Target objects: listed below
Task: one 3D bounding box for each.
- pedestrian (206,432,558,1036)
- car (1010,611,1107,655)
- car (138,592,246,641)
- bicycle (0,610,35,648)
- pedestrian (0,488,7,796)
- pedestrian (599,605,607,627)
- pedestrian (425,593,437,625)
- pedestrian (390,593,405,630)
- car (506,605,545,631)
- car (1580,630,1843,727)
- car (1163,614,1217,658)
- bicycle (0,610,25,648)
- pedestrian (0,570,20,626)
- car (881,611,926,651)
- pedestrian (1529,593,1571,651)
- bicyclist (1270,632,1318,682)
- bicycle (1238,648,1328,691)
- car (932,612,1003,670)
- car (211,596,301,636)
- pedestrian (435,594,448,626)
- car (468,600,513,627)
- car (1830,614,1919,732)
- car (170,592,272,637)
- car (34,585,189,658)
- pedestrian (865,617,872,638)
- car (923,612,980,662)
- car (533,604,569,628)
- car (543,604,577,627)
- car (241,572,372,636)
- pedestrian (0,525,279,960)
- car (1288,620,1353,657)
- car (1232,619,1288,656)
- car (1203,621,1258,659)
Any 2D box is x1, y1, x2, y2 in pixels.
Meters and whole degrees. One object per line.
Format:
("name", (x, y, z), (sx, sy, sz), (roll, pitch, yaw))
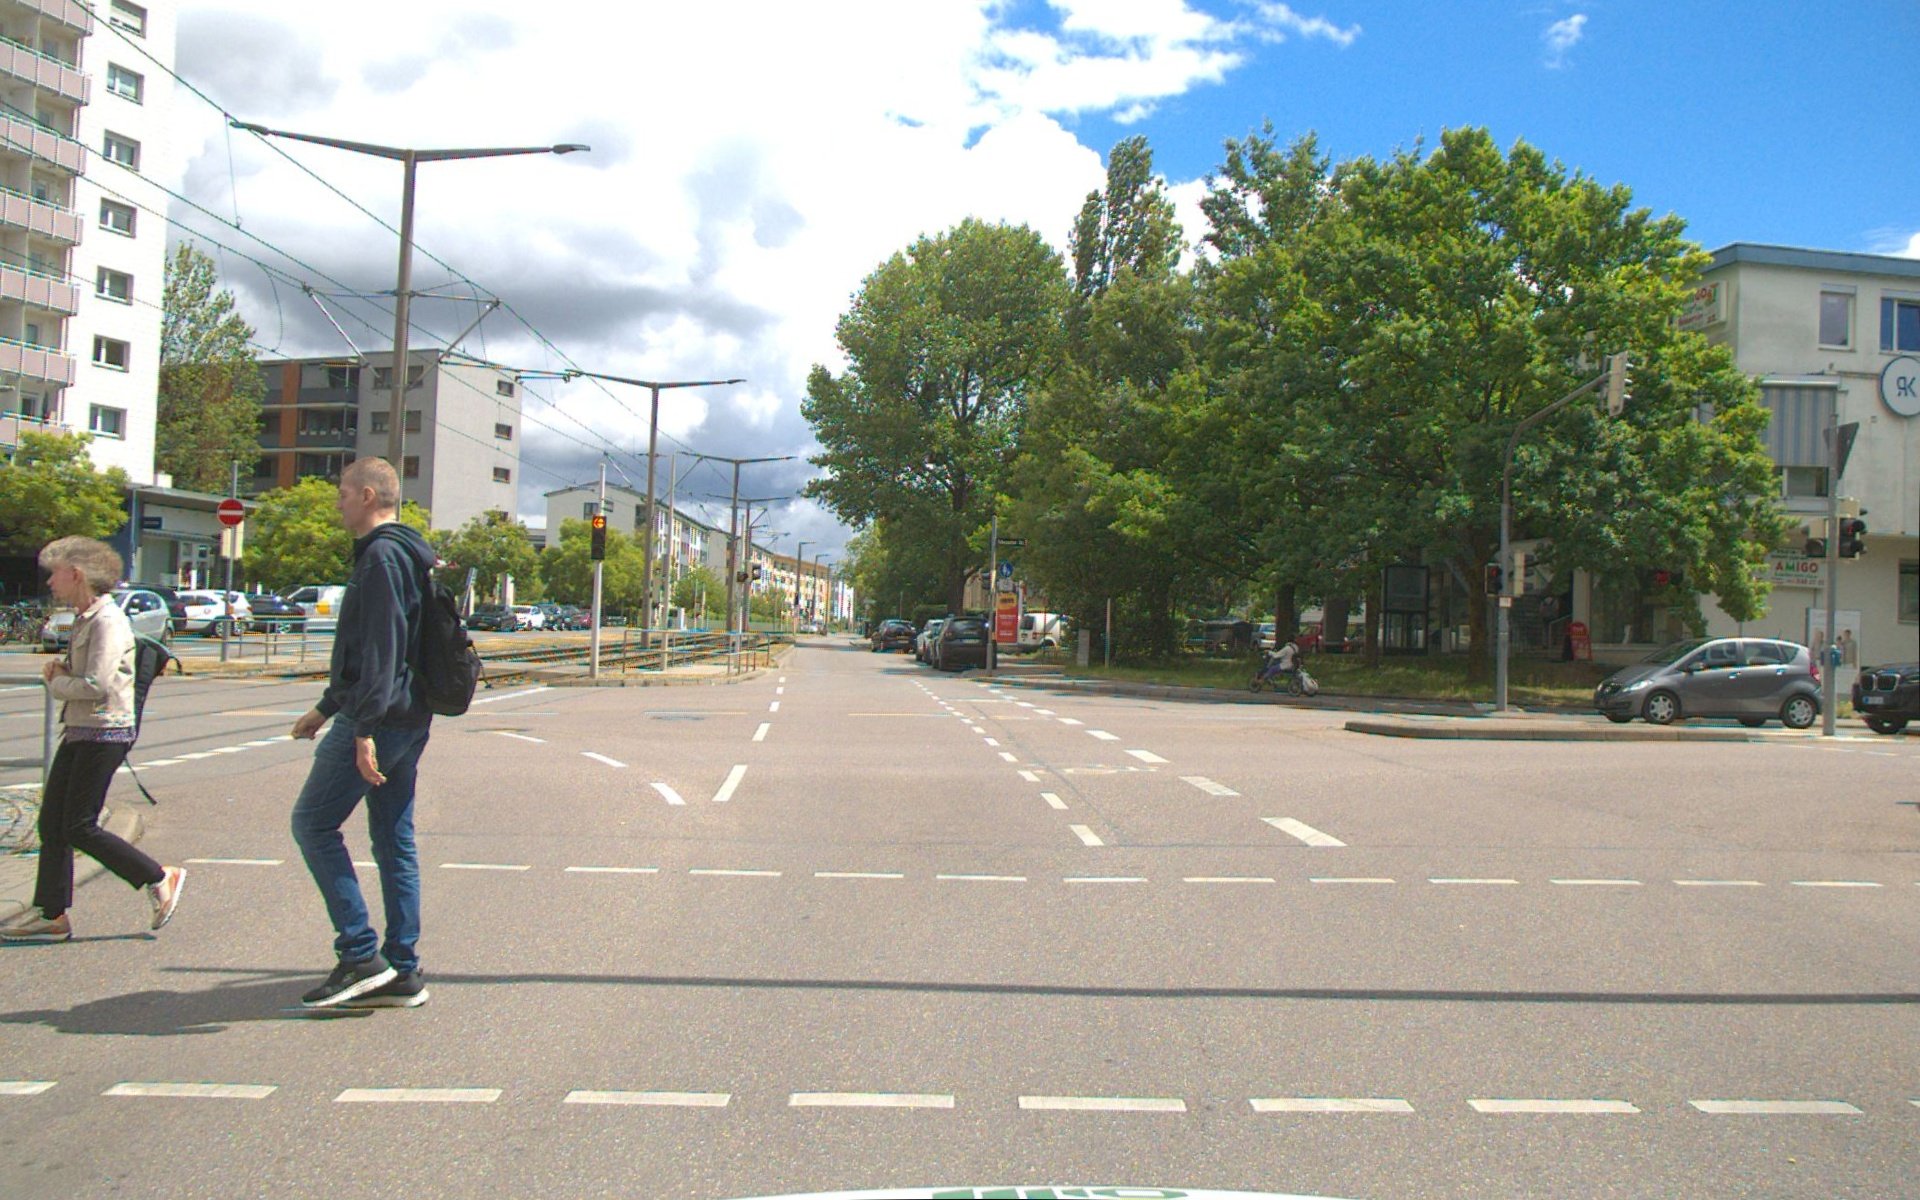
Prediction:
("pedestrian", (-2.012, 0.448, 5.908), (0.947, 1.976, 0.896), (1, 0, -5))
("car", (4.382, 1.470, 73.380), (3.933, 1.855, 1.766), (1, 0, -24))
("car", (-26.749, 0.549, 57.563), (4.143, 1.597, 1.949), (1, 0, 43))
("bicycle", (-24.997, 0.736, 42.668), (1.910, 0.951, 0.494), (1, -1, -7))
("pedestrian", (-3.881, 0.482, 5.583), (0.917, 1.796, 0.770), (1, 0, -12))
("pedestrian", (-26.569, 1.188, 123.064), (0.443, 1.665, 0.480), (1, 0, 4))
("pedestrian", (-28.770, 0.490, 90.015), (0.537, 1.746, 0.404), (1, 0, -11))
("pedestrian", (-27.143, 0.557, 79.768), (0.536, 1.746, 0.405), (1, 0, -1))
("car", (-25.739, 1.056, 98.087), (1.728, 1.419, 3.993), (1, 0, -7))
("car", (13.476, 1.383, 29.822), (3.827, 1.583, 2.000), (1, 0, -1))
("car", (10.391, 1.606, 74.885), (1.598, 1.842, 4.029), (1, 0, -4))
("bicycle", (-24.966, 0.733, 42.157), (1.910, 0.951, 0.494), (1, -1, -7))
("pedestrian", (-33.999, -0.071, 58.641), (0.850, 1.950, 1.210), (1, 0, -15))
("car", (-2.515, 1.362, 74.445), (1.953, 1.713, 3.999), (1, 0, -1))
("pedestrian", (17.275, 0.646, 48.401), (0.755, 1.672, 0.904), (2, 0, -14))
("bicyclist", (7.074, 1.205, 35.041), (0.785, 1.040, 0.628), (2, -1, -37))
("bicycle", (6.848, 1.468, 35.143), (0.786, 0.833, 1.783), (2, 0, -39))
("car", (0.196, 1.261, 51.796), (2.108, 1.713, 3.999), (1, -1, -1))
("car", (-27.302, 0.623, 64.084), (4.147, 1.445, 1.777), (1, 0, 45))
("pedestrian", (-28.118, 0.537, 89.641), (0.537, 1.746, 0.667), (1, 0, -11))
("car", (-25.714, 0.707, 90.648), (1.728, 1.419, 3.993), (1, 0, -7))
("car", (16.433, 1.146, 26.087), (4.472, 1.747, 1.997), (1, 0, -8))
("car", (-27.198, 0.526, 60.840), (4.143, 1.564, 1.949), (1, 0, 43))
("car", (-21.268, 0.518, 41.630), (1.898, 1.723, 3.872), (1, 0, -1))
("pedestrian", (-7.454, 2.258, 135.030), (0.469, 1.665, 0.454), (1, 0, -2))
("car", (-0.309, 1.329, 59.234), (1.953, 1.713, 3.999), (1, -1, -1))
("car", (-25.836, 1.005, 104.679), (1.728, 1.419, 3.993), (1, 0, -7))
("car", (-26.397, 1.022, 109.234), (1.728, 1.419, 3.993), (1, 0, -7))
("car", (-27.335, 0.131, 69.033), (2.811, 2.522, 6.614), (1, 0, -44))
("pedestrian", (-3.581, 0.558, 7.020), (0.932, 1.703, 0.871), (0, 0, 14))
("car", (16.798, 1.770, 77.260), (1.698, 1.623, 3.993), (1, 0, -8))
("car", (13.896, 1.718, 76.760), (1.598, 1.623, 3.997), (1, 0, -4))
("car", (12.310, 1.787, 75.439), (1.598, 1.600, 4.029), (1, 0, -4))
